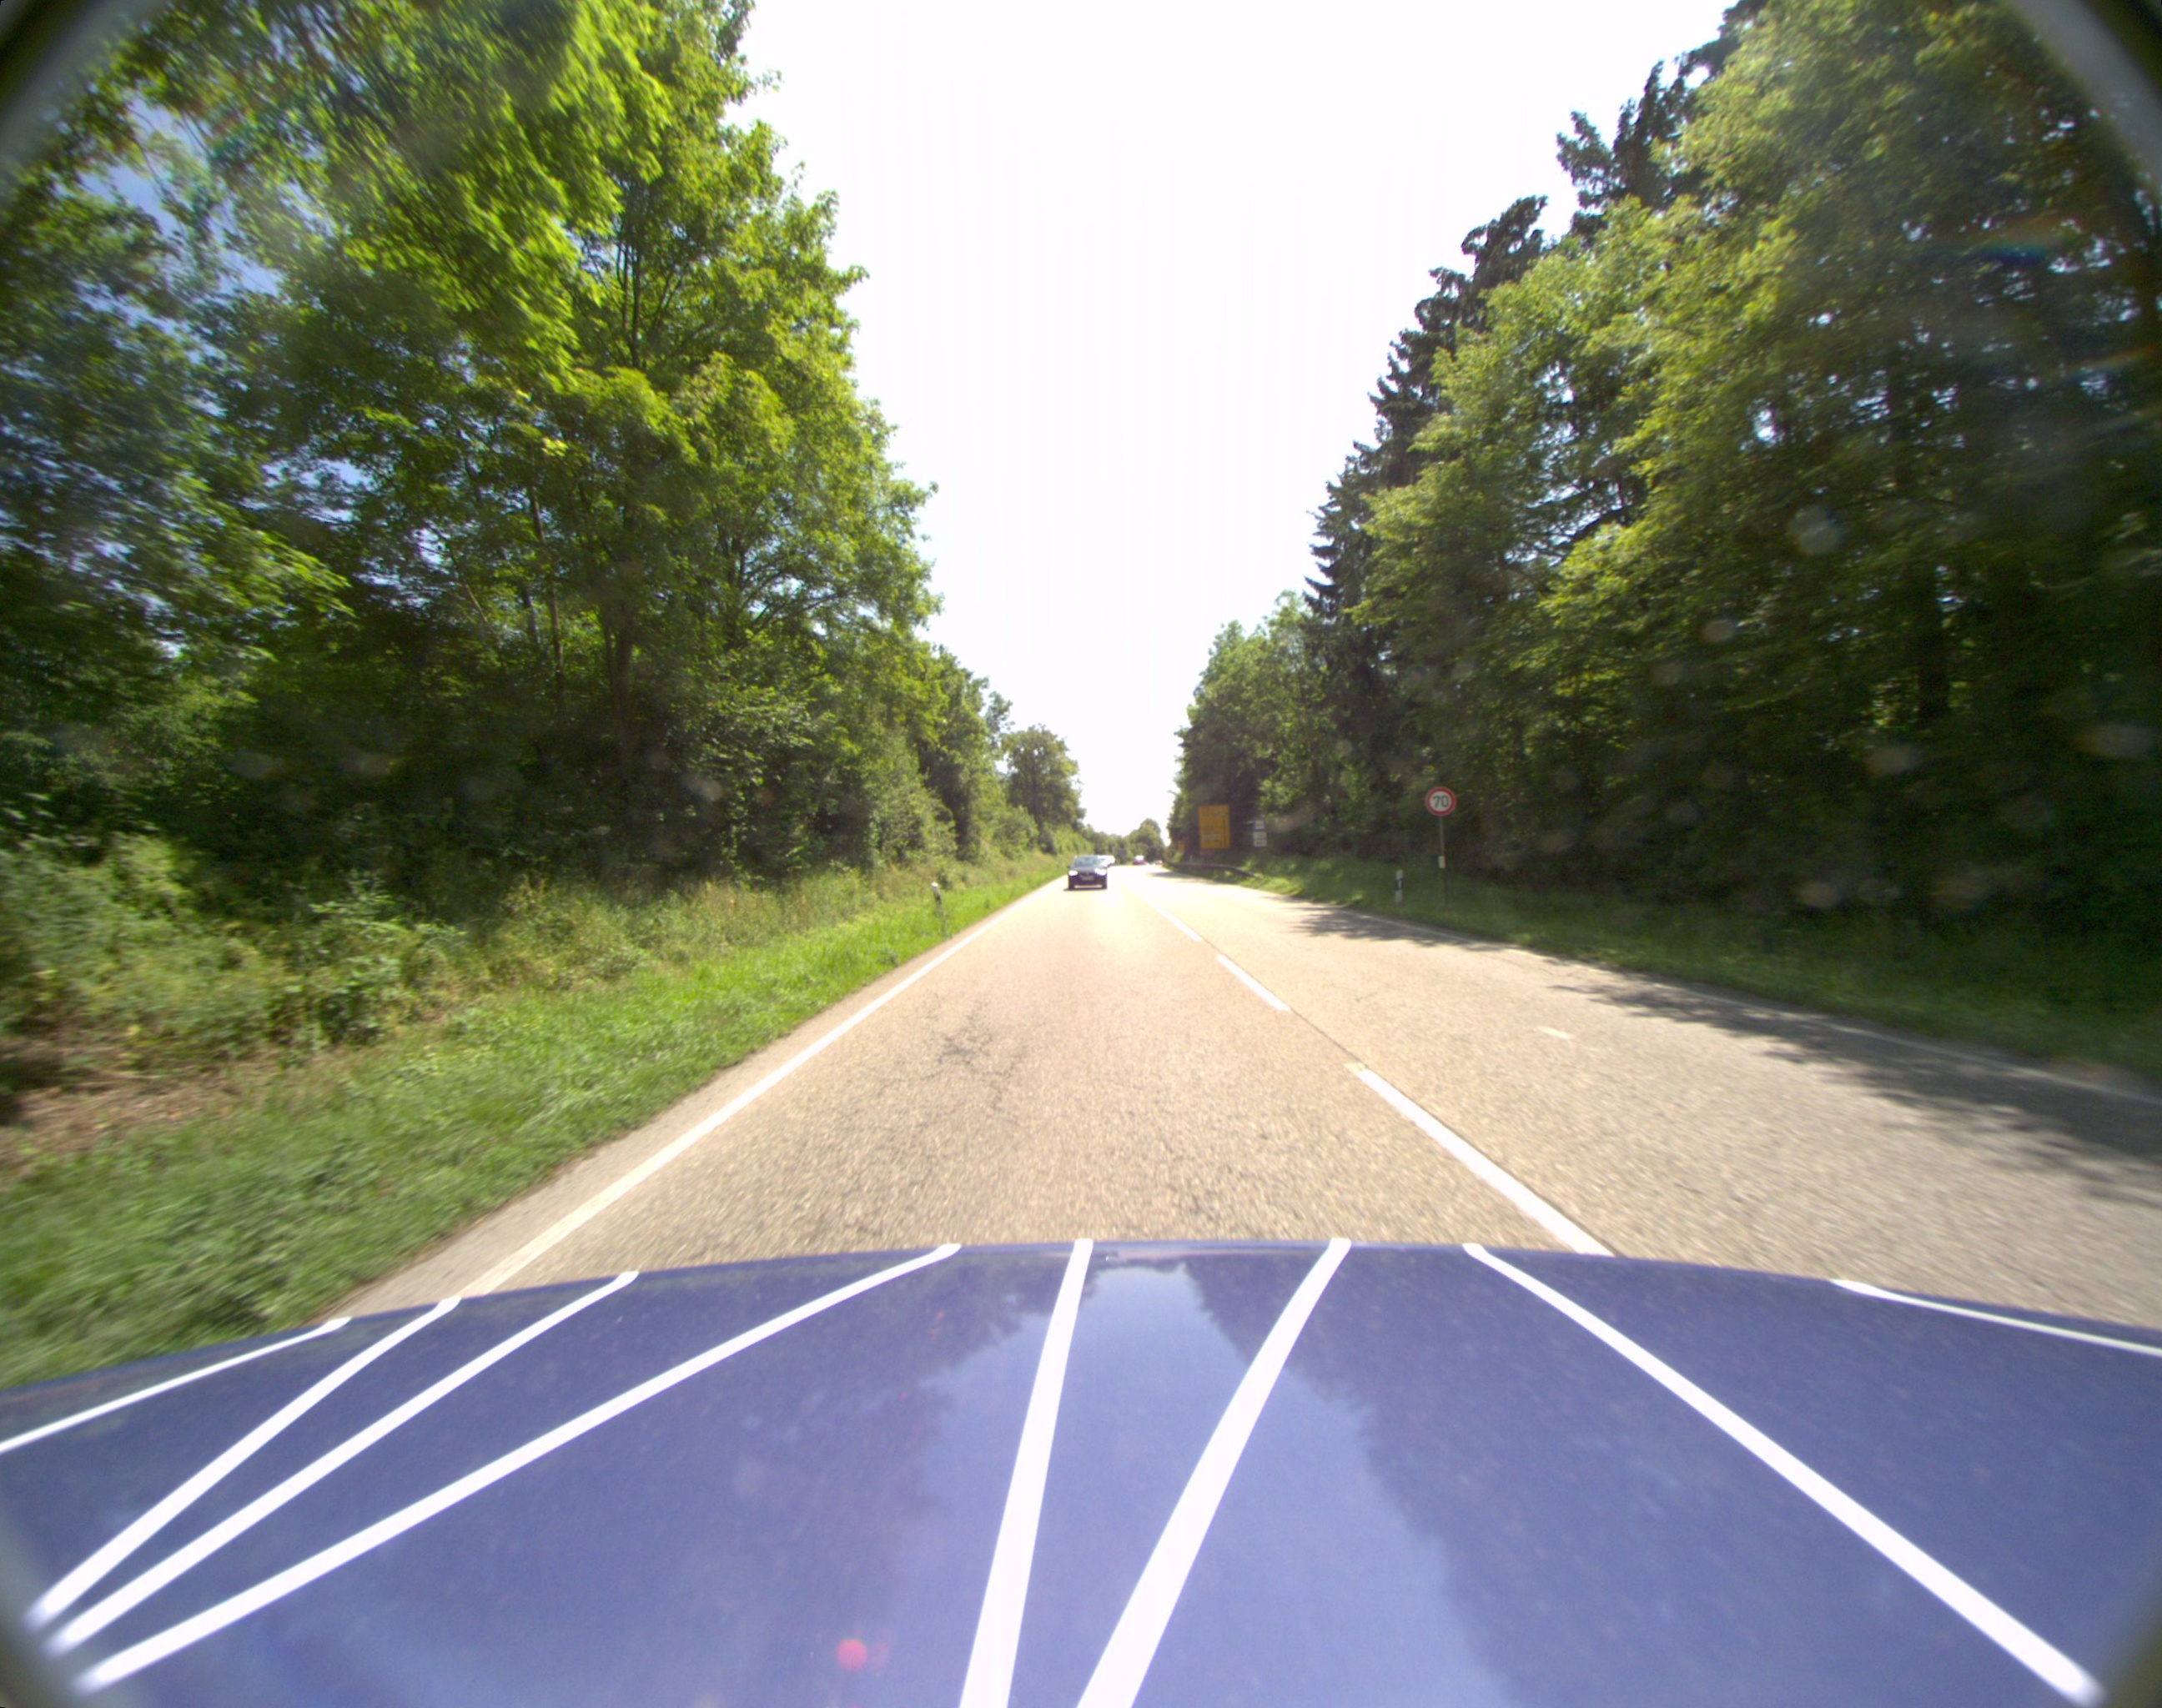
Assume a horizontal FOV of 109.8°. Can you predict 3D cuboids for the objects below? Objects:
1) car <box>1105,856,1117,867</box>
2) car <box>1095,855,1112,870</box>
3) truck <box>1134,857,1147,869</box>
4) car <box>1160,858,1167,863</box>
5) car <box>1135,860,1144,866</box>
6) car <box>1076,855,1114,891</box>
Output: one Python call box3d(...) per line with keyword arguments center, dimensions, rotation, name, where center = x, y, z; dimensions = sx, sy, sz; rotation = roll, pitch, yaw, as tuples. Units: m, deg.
box3d(center=(5.422, 1.377, 138.028), dimensions=(1.998, 2.001, 4.002), rotation=(-4, -1, 3), name="car")
box3d(center=(2.630, 1.028, 88.928), dimensions=(1.770, 1.673, 4.001), rotation=(-4, -1, 1), name="car")
box3d(center=(19.478, 2.908, 247.389), dimensions=(2.838, 3.794, 8.458), rotation=(-3, 0, 11), name="truck")
box3d(center=(23.319, 1.938, 215.319), dimensions=(1.810, 1.426, 3.873), rotation=(-1, -1, 5), name="car")
box3d(center=(14.082, 2.177, 183.046), dimensions=(1.808, 1.444, 4.390), rotation=(-2, -1, 7), name="car")
box3d(center=(0.613, 0.855, 34.782), dimensions=(1.627, 1.535, 4.000), rotation=(0, -1, 0), name="car")
